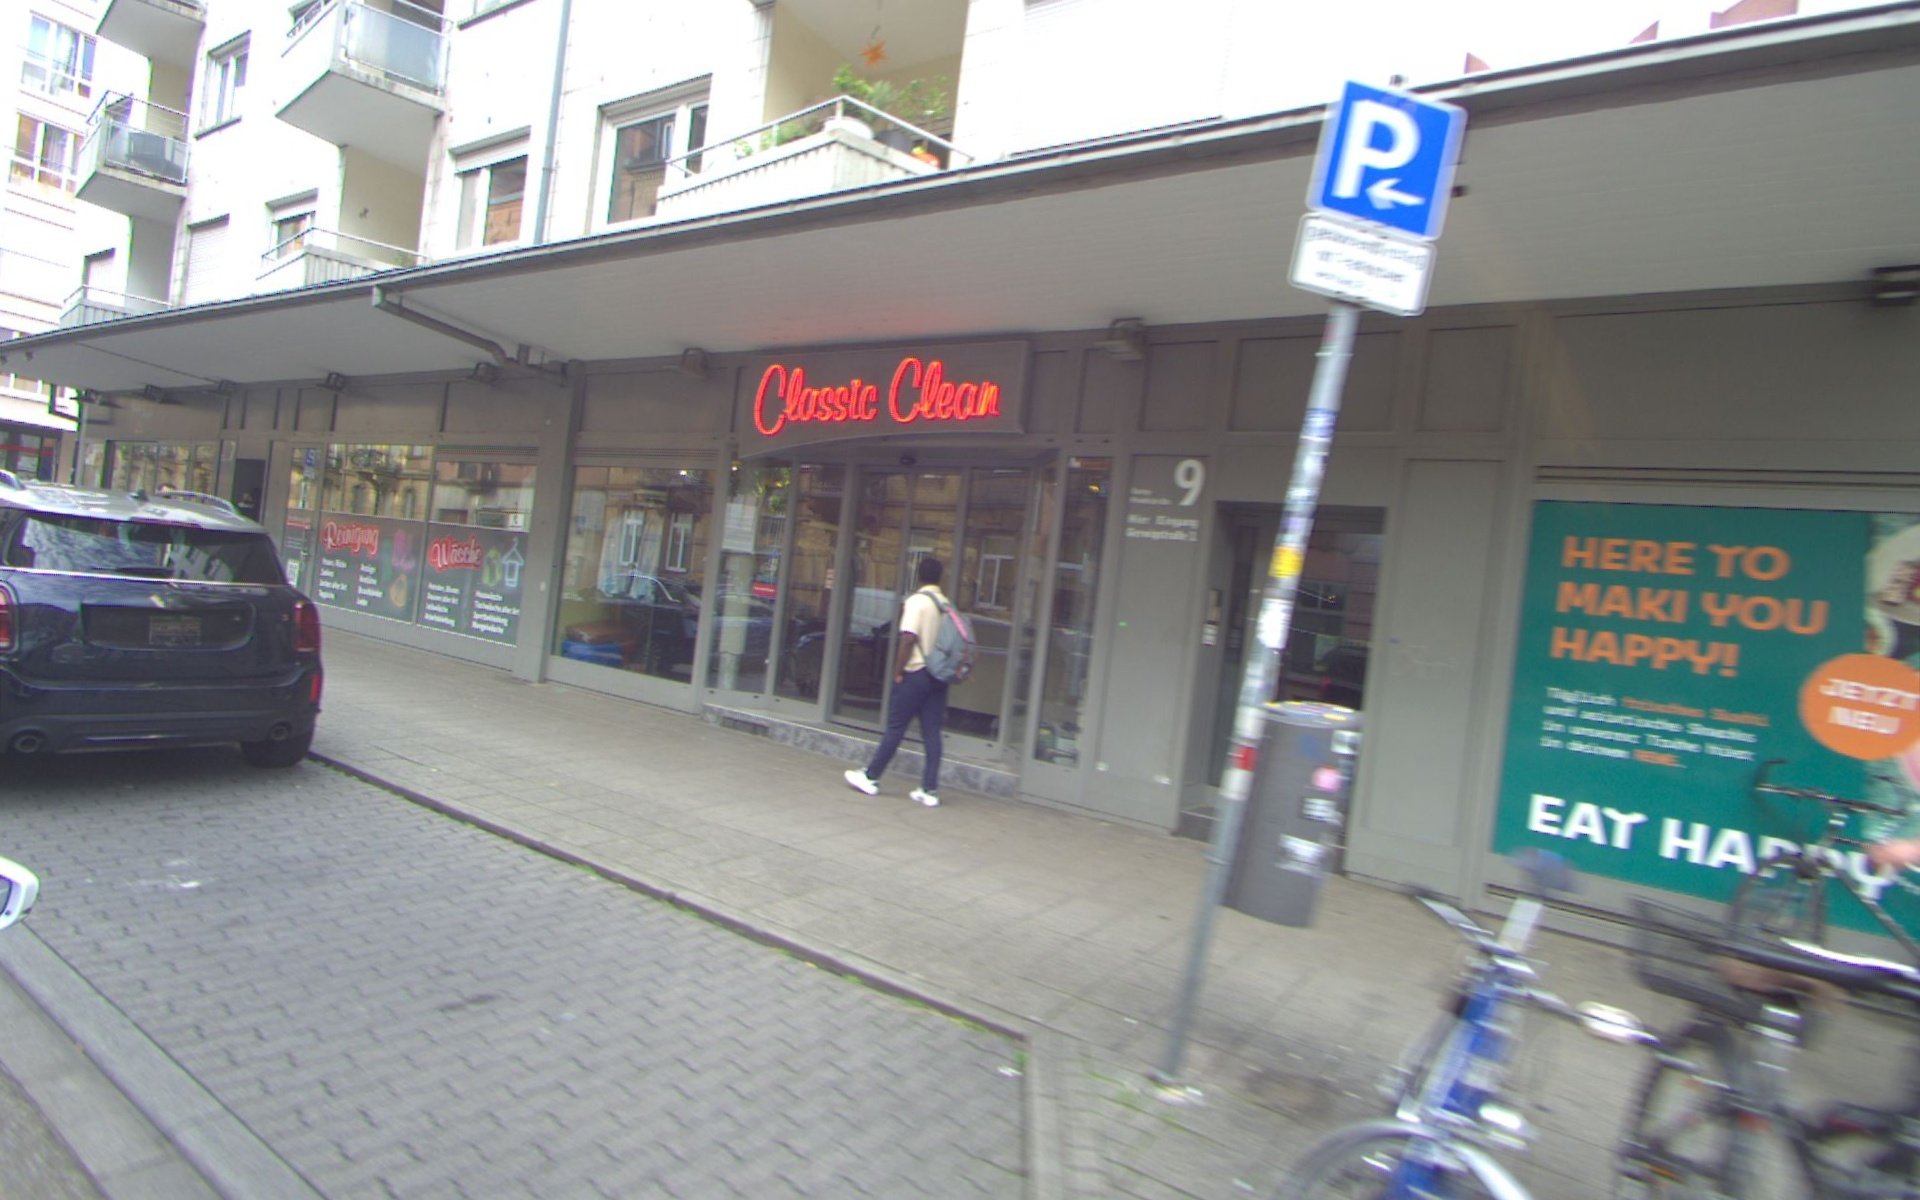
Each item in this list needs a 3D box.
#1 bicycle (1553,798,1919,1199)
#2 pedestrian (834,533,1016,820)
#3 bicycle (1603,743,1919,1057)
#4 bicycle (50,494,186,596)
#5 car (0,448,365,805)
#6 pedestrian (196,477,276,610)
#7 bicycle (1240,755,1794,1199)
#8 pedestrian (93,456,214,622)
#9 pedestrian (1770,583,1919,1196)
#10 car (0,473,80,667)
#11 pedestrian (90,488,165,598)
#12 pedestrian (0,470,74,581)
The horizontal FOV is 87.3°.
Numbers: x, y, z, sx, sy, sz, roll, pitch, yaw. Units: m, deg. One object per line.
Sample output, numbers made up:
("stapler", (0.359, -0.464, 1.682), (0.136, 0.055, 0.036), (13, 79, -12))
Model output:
("bicycle", (1.604, 1.083, 1.847), (0.559, 1.084, 1.791), (8, 1, 24))
("pedestrian", (-0.233, 0.490, 6.852), (0.803, 1.770, 0.714), (8, 3, 32))
("bicycle", (3.934, 1.318, 4.427), (1.754, 1.028, 0.741), (7, 2, 34))
("bicycle", (-12.886, -0.856, 15.371), (2.459, 1.307, 0.918), (7, 1, 35))
("car", (-5.602, -0.013, 6.158), (3.861, 1.625, 1.794), (7, 0, 34))
("pedestrian", (-10.999, -0.846, 15.306), (0.701, 1.882, 0.640), (7, 0, -27))
("bicycle", (1.009, 1.009, 2.126), (0.576, 1.084, 1.791), (8, 1, 24))
("pedestrian", (-9.149, -0.688, 11.411), (1.107, 1.749, 0.612), (8, 3, 29))
("pedestrian", (3.338, 0.901, 3.095), (1.031, 1.770, 0.849), (7, 3, 32))
("car", (-9.746, -0.461, 9.040), (3.839, 1.596, 1.690), (7, 0, 33))
("pedestrian", (-13.028, -0.888, 15.750), (0.768, 1.609, 0.643), (7, 2, 36))
("pedestrian", (-14.724, -1.174, 15.897), (0.768, 1.608, 0.824), (7, 0, 36))
